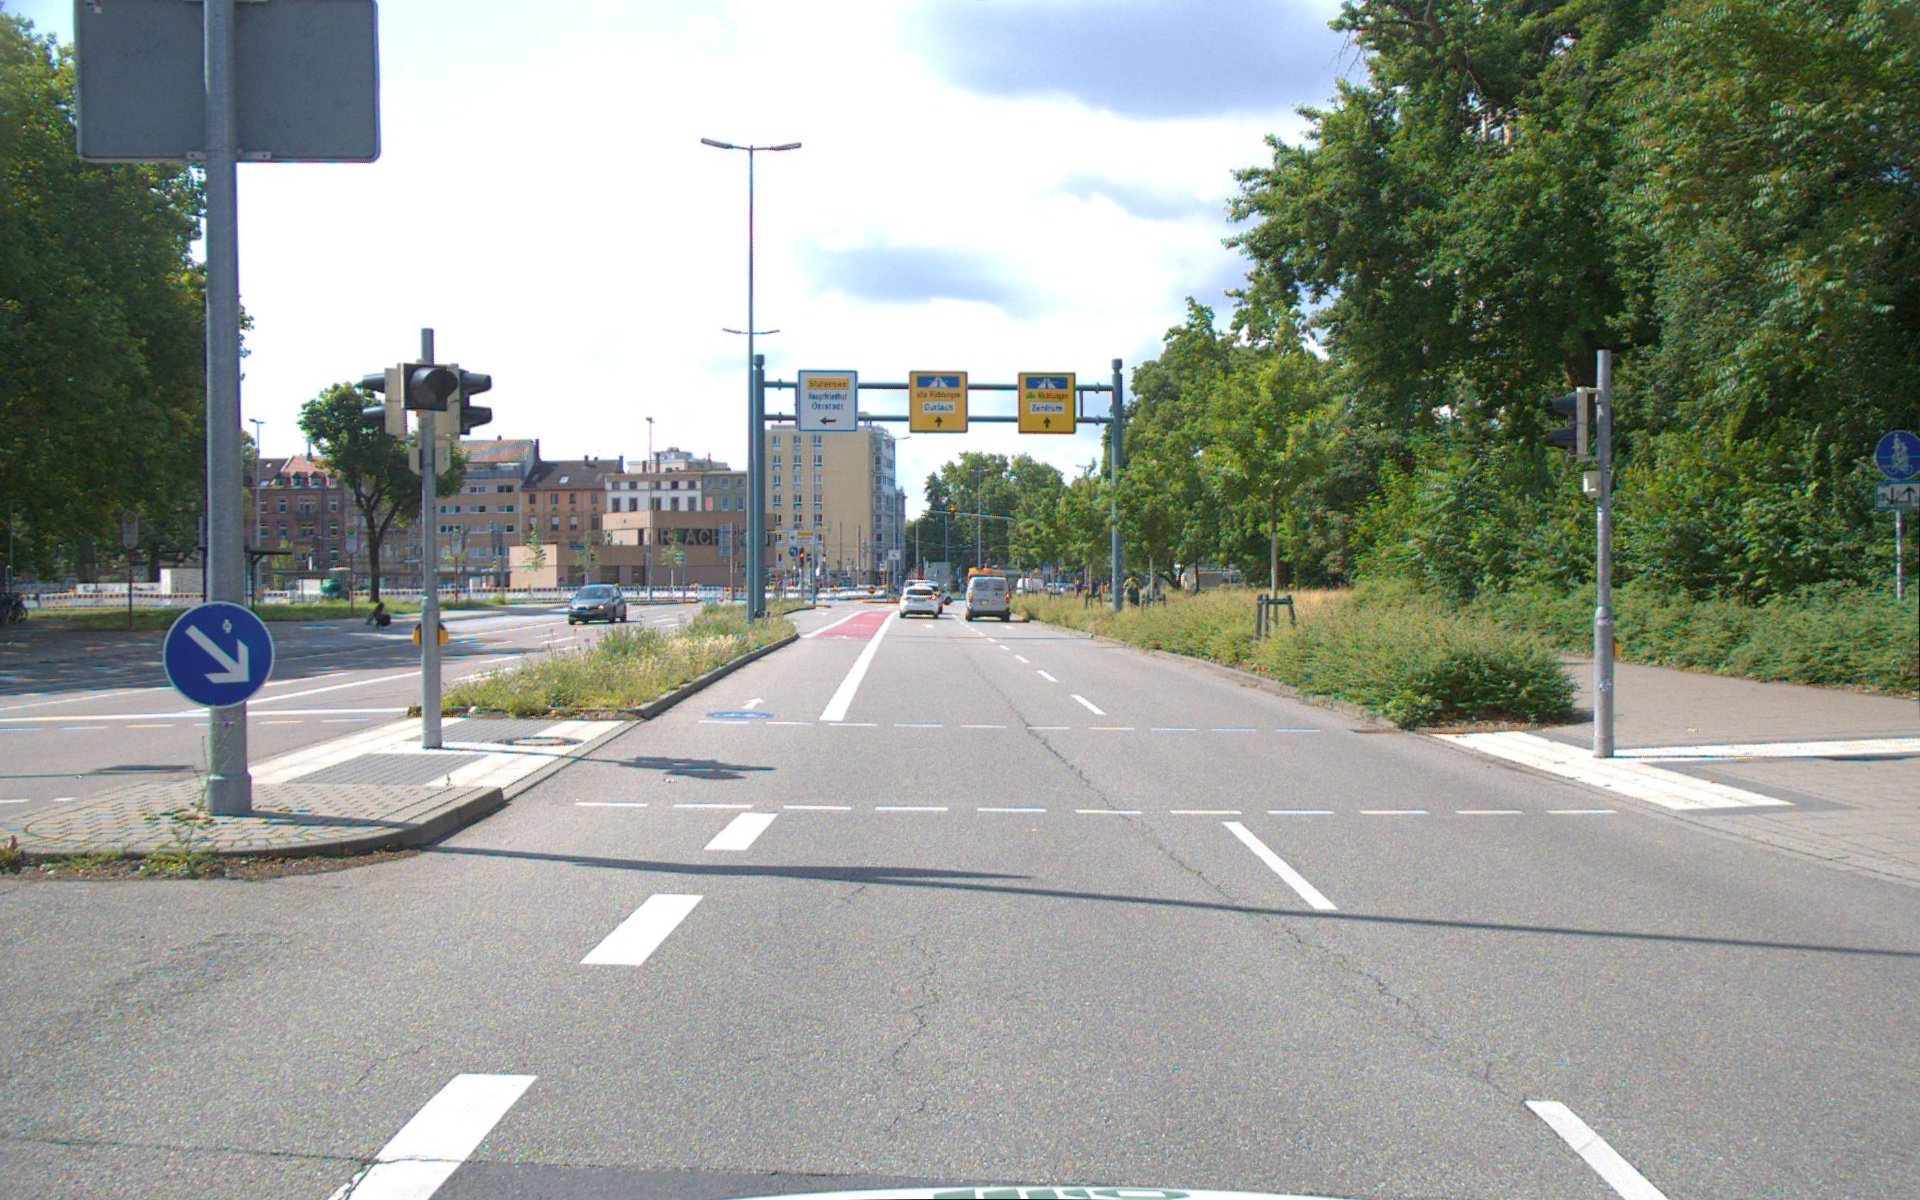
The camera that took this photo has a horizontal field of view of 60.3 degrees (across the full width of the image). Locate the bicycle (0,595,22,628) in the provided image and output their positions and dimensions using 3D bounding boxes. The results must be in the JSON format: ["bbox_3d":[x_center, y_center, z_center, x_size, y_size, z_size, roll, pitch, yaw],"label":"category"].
[{"bbox_3d":[-33.023,0.392,57.294,0.573,1.092,1.860,0,1,-19],"label":"bicycle"}]

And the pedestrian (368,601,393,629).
[{"bbox_3d":[-20.561,0.539,58.685,0.680,0.980,0.742,0,0,-4],"label":"pedestrian"}]

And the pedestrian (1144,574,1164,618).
[{"bbox_3d":[6.992,-0.146,59.759,0.610,1.608,0.708,0,0,-2],"label":"pedestrian"}]

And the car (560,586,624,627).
[{"bbox_3d":[-14.082,0.214,63.509,1.666,1.470,4.144,-2,1,-3],"label":"car"}]

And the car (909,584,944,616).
[{"bbox_3d":[-1.734,-0.013,86.799,1.754,1.566,4.010,1,0,-1],"label":"car"}]

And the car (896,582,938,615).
[{"bbox_3d":[-1.954,-0.085,76.273,1.865,1.448,4.384,0,1,-1],"label":"car"}]

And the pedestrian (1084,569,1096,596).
[{"bbox_3d":[8.589,-1.171,109.313,0.727,1.766,0.679,0,0,2],"label":"pedestrian"}]

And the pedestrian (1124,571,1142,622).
[{"bbox_3d":[6.236,-0.119,59.499,0.555,1.833,0.638,0,0,-2],"label":"pedestrian"}]

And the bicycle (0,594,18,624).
[{"bbox_3d":[-34.024,0.303,59.002,0.464,1.029,1.950,0,1,-23],"label":"bicycle"}]

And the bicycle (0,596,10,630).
[{"bbox_3d":[-31.540,0.423,54.130,0.574,1.092,1.619,0,1,-24],"label":"bicycle"}]

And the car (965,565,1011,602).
[{"bbox_3d":[2.236,-1.274,131.057,2.086,2.829,4.638,-1,0,22],"label":"car"}]

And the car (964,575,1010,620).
[{"bbox_3d":[1.158,-0.137,72.879,1.903,1.902,4.824,0,1,-1],"label":"car"}]

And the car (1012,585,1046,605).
[{"bbox_3d":[6.923,-0.533,165.589,1.964,2.001,4.638,-1,0,22],"label":"car"}]

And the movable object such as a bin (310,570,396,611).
[{"bbox_3d":[-44.413,-0.667,121.099,2.247,2.935,5.510,-1,0,41],"label":"movable object such as a bin"}]

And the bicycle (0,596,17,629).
[{"bbox_3d":[-32.182,0.419,55.656,0.574,1.092,1.619,0,1,-24],"label":"bicycle"}]

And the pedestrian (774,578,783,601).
[{"bbox_3d":[-14.124,-0.810,128.811,0.513,1.764,0.624,0,0,8],"label":"pedestrian"}]

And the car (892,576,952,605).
[{"bbox_3d":[-2.735,-0.687,120.065,3.966,1.847,1.970,3,0,-42],"label":"car"}]
